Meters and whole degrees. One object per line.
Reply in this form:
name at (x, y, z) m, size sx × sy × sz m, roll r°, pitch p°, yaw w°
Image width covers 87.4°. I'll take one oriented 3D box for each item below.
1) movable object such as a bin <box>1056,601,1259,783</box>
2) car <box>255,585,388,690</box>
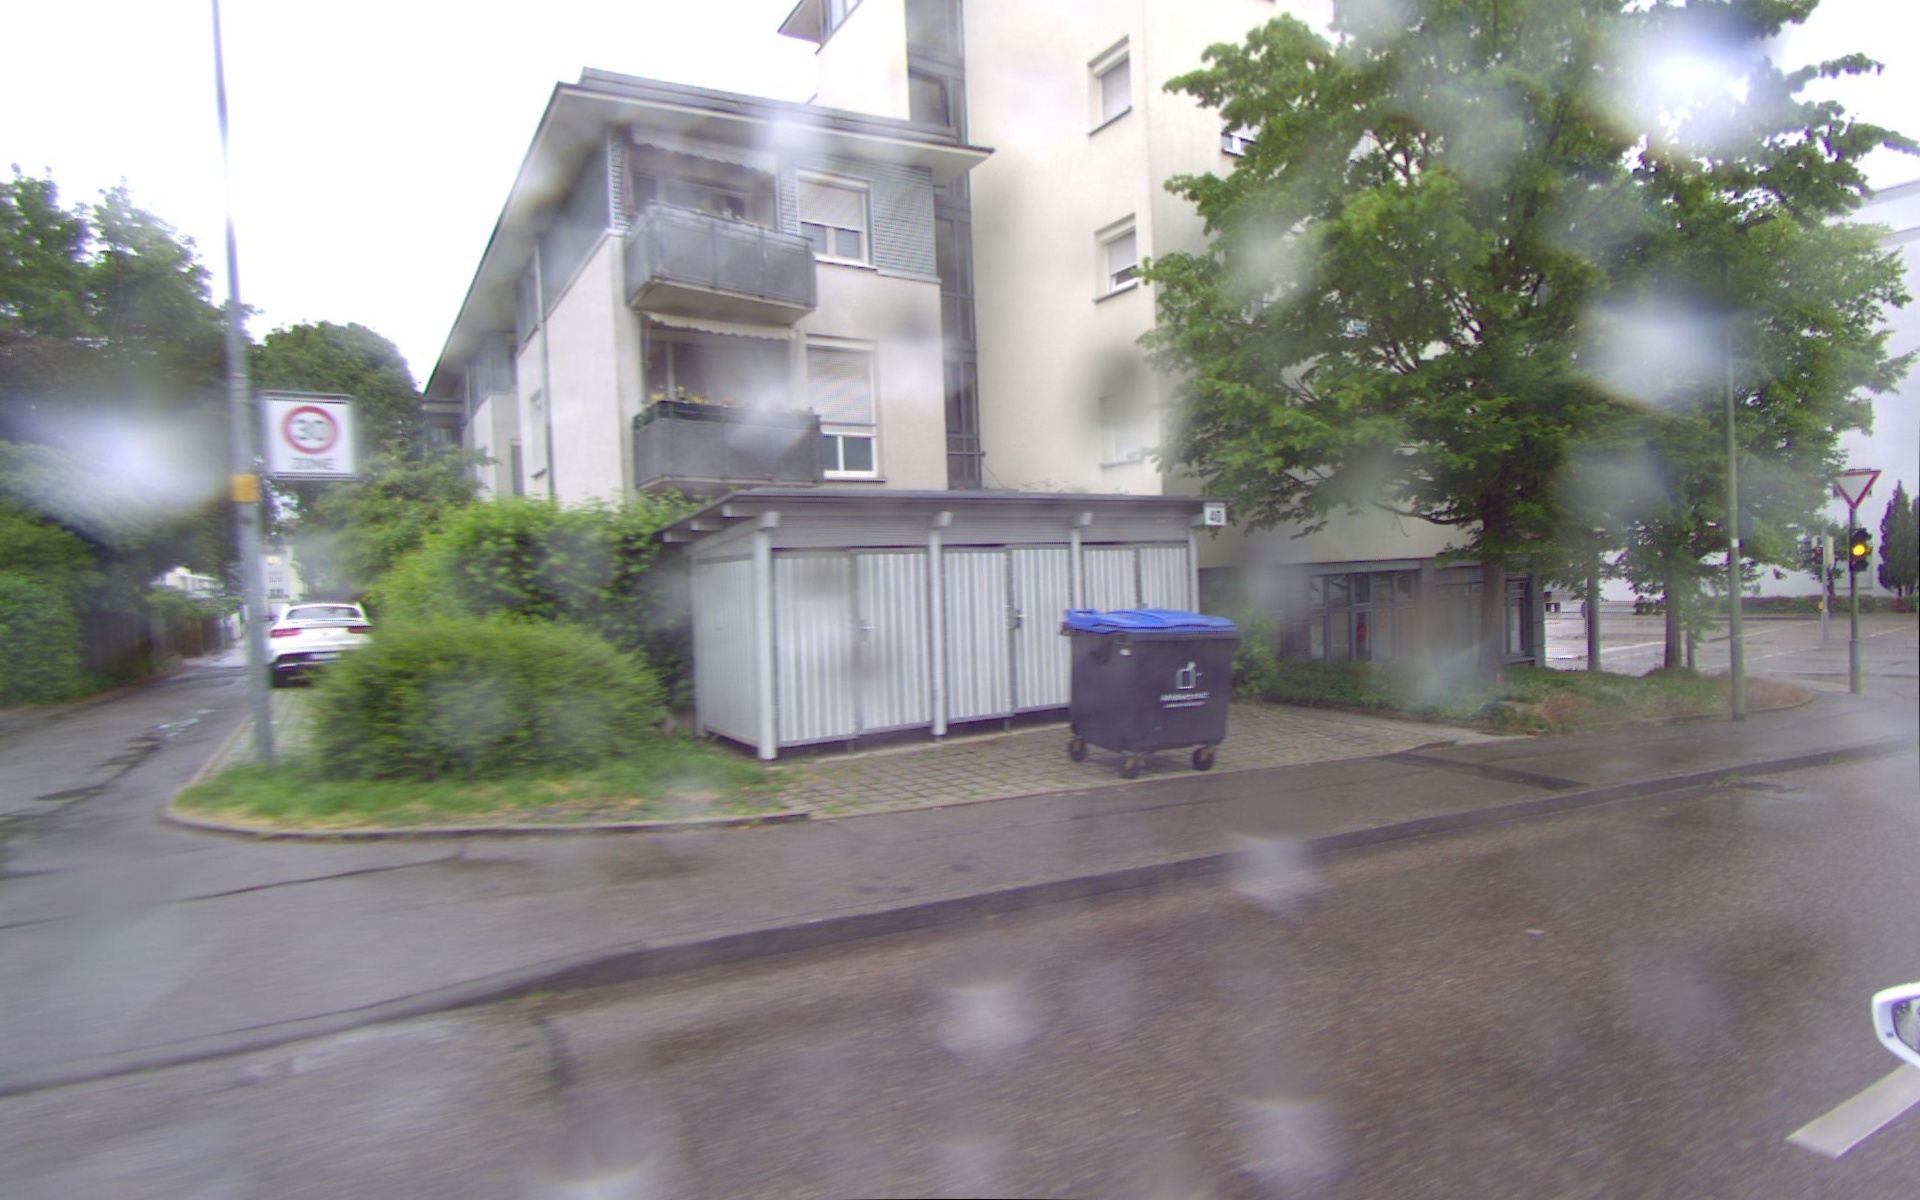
movable object such as a bin at (1.661, 0.709, 8.510) m, size 1.304 × 1.365 × 1.065 m, roll 0°, pitch 2°, yaw -32°
car at (-13.448, 0.776, 21.303) m, size 2.178 × 1.990 × 3.967 m, roll 0°, pitch -2°, yaw -31°
